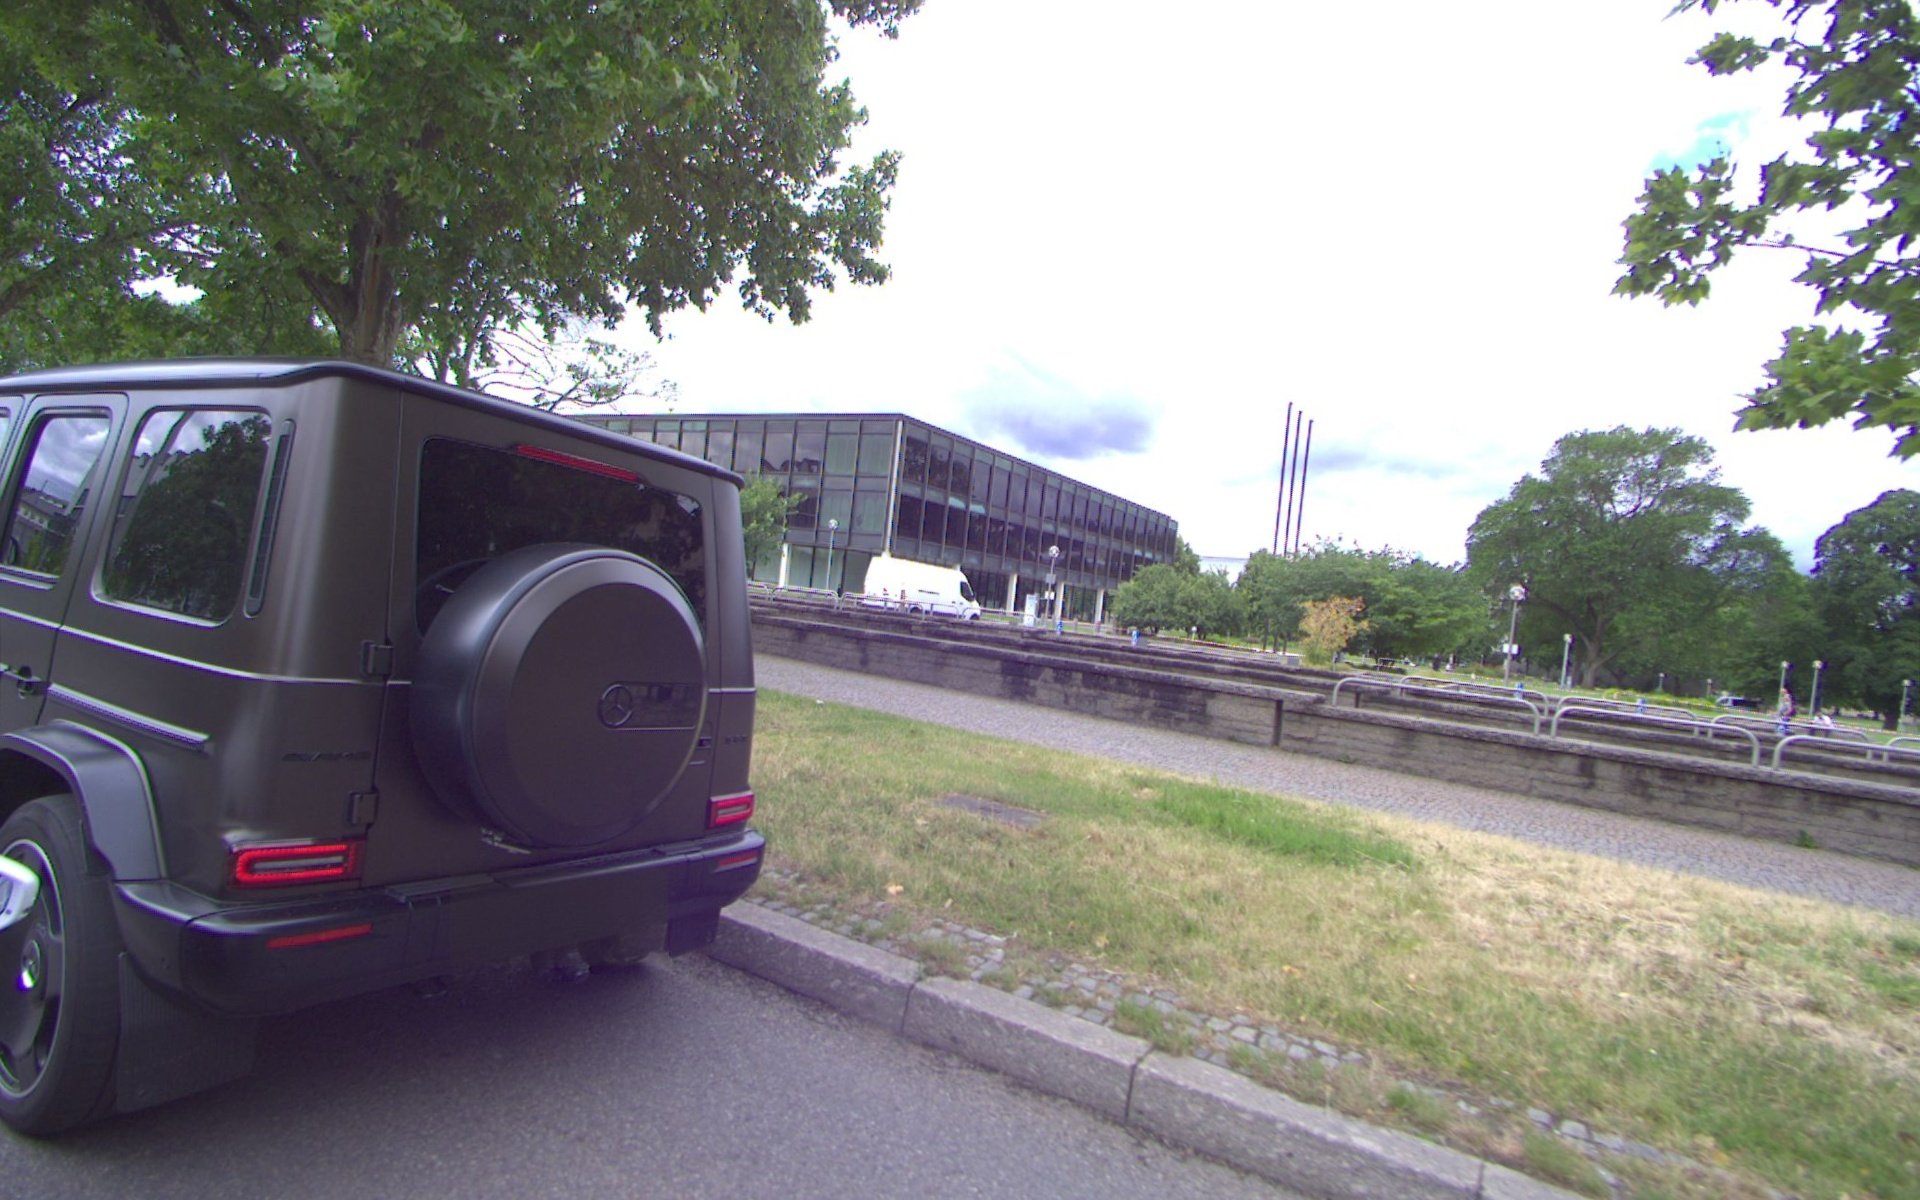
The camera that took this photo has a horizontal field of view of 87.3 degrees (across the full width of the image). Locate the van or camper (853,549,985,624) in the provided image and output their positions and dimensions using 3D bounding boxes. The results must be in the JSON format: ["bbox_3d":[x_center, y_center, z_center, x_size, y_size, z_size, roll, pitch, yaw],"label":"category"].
[{"bbox_3d":[-1.525,-0.458,40.376,2.283,2.347,5.704,5,-2,33],"label":"van or camper"}]

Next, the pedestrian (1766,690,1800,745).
[{"bbox_3d":[32.616,4.649,39.872,0.802,2.037,0.858,5,-2,31],"label":"pedestrian"}]

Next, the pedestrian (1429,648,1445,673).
[{"bbox_3d":[36.155,4.606,76.259,0.802,1.825,0.857,7,1,31],"label":"pedestrian"}]

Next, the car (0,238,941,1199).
[{"bbox_3d":[-2.637,0.245,3.760,4.629,1.915,1.982,6,-2,31],"label":"car"}]

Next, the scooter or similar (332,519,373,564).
[{"bbox_3d":[-18.667,-1.798,30.921,0.716,1.261,0.717,6,-2,31],"label":"scooter or similar"}]

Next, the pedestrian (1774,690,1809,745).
[{"bbox_3d":[32.268,4.564,39.045,0.802,2.037,0.766,5,-2,31],"label":"pedestrian"}]
